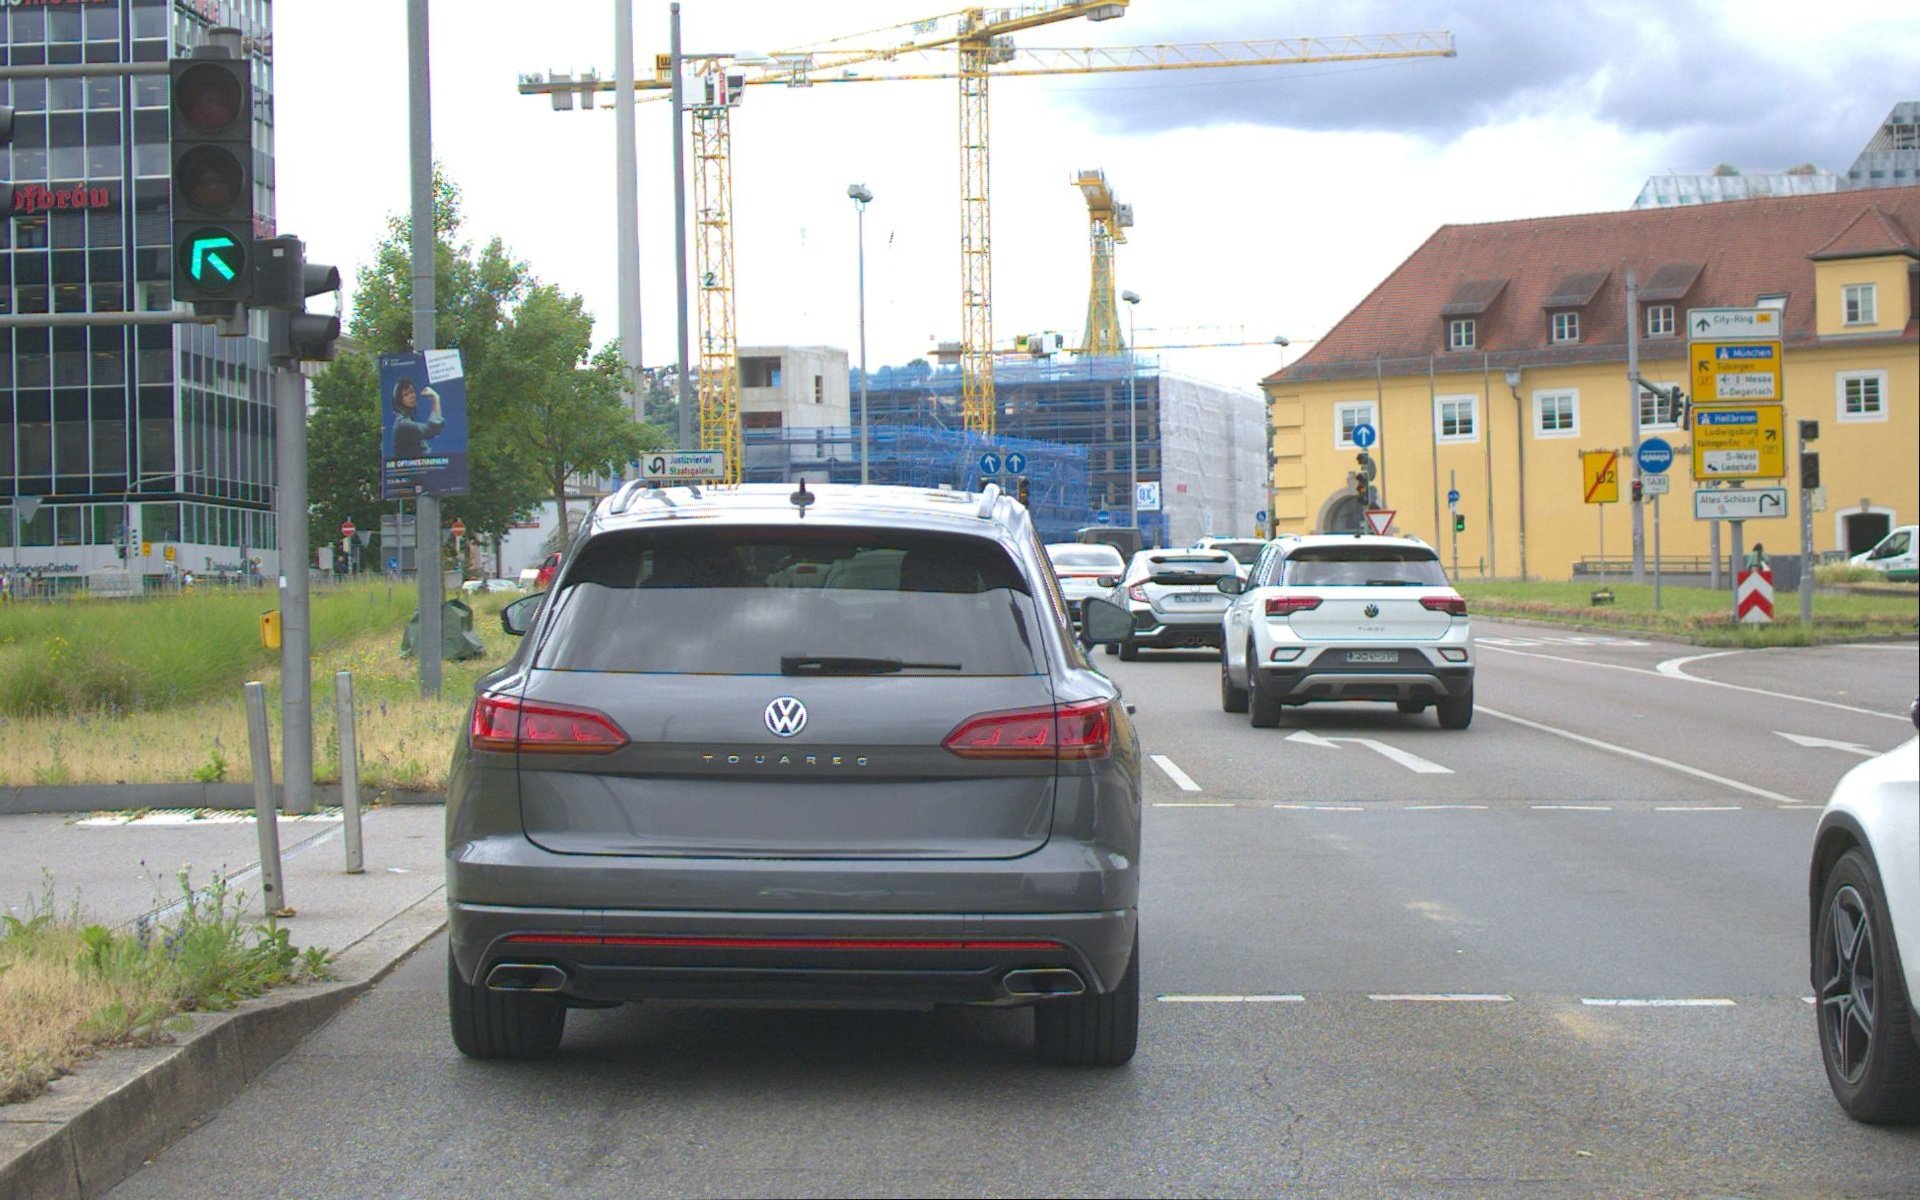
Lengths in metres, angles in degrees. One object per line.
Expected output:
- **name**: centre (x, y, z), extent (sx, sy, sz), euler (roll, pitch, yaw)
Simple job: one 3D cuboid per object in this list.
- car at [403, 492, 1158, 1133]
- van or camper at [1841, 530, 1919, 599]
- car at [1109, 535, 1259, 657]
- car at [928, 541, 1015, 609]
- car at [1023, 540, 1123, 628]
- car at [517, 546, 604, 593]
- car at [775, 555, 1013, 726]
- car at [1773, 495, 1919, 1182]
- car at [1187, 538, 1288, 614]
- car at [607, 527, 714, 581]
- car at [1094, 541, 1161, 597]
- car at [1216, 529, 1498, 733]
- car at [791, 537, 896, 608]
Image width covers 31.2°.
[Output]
- **car**: centre (-0.478, 0.506, 10.827), extent (1.933, 1.641, 4.000), euler (0, 1, -1)
- **van or camper**: centre (28.972, -1.052, 100.303), extent (6.017, 2.007, 2.015), euler (0, 0, 35)
- **car**: centre (2.861, -0.090, 44.541), extent (1.719, 1.497, 4.144), euler (0, 1, 1)
- **car**: centre (0.245, -0.608, 80.309), extent (1.814, 1.491, 3.907), euler (-1, 1, -3)
- **car**: centre (2.024, -0.305, 60.893), extent (1.719, 1.497, 3.981), euler (0, 1, 3)
- **car**: centre (-12.815, -0.984, 110.118), extent (1.718, 1.497, 3.982), euler (0, 1, -23)
- **car**: centre (-0.577, 0.317, 30.974), extent (1.993, 1.382, 4.000), euler (0, 1, -1)
- **car**: centre (3.218, 0.584, 7.398), extent (1.819, 1.641, 4.379), euler (0, 1, -1)
- **car**: centre (5.645, -0.511, 70.362), extent (1.803, 1.497, 3.981), euler (0, 1, 1)
- **car**: centre (-8.691, -1.347, 99.402), extent (2.244, 1.497, 4.613), euler (0, 1, -16)
- **car**: centre (4.623, -0.876, 95.297), extent (1.719, 1.497, 3.981), euler (0, 1, 1)
- **car**: centre (3.232, 0.204, 28.681), extent (1.893, 1.580, 3.801), euler (0, 1, 0)
- **car**: centre (-2.562, -0.627, 74.816), extent (1.814, 1.491, 3.907), euler (0, 1, -9)
